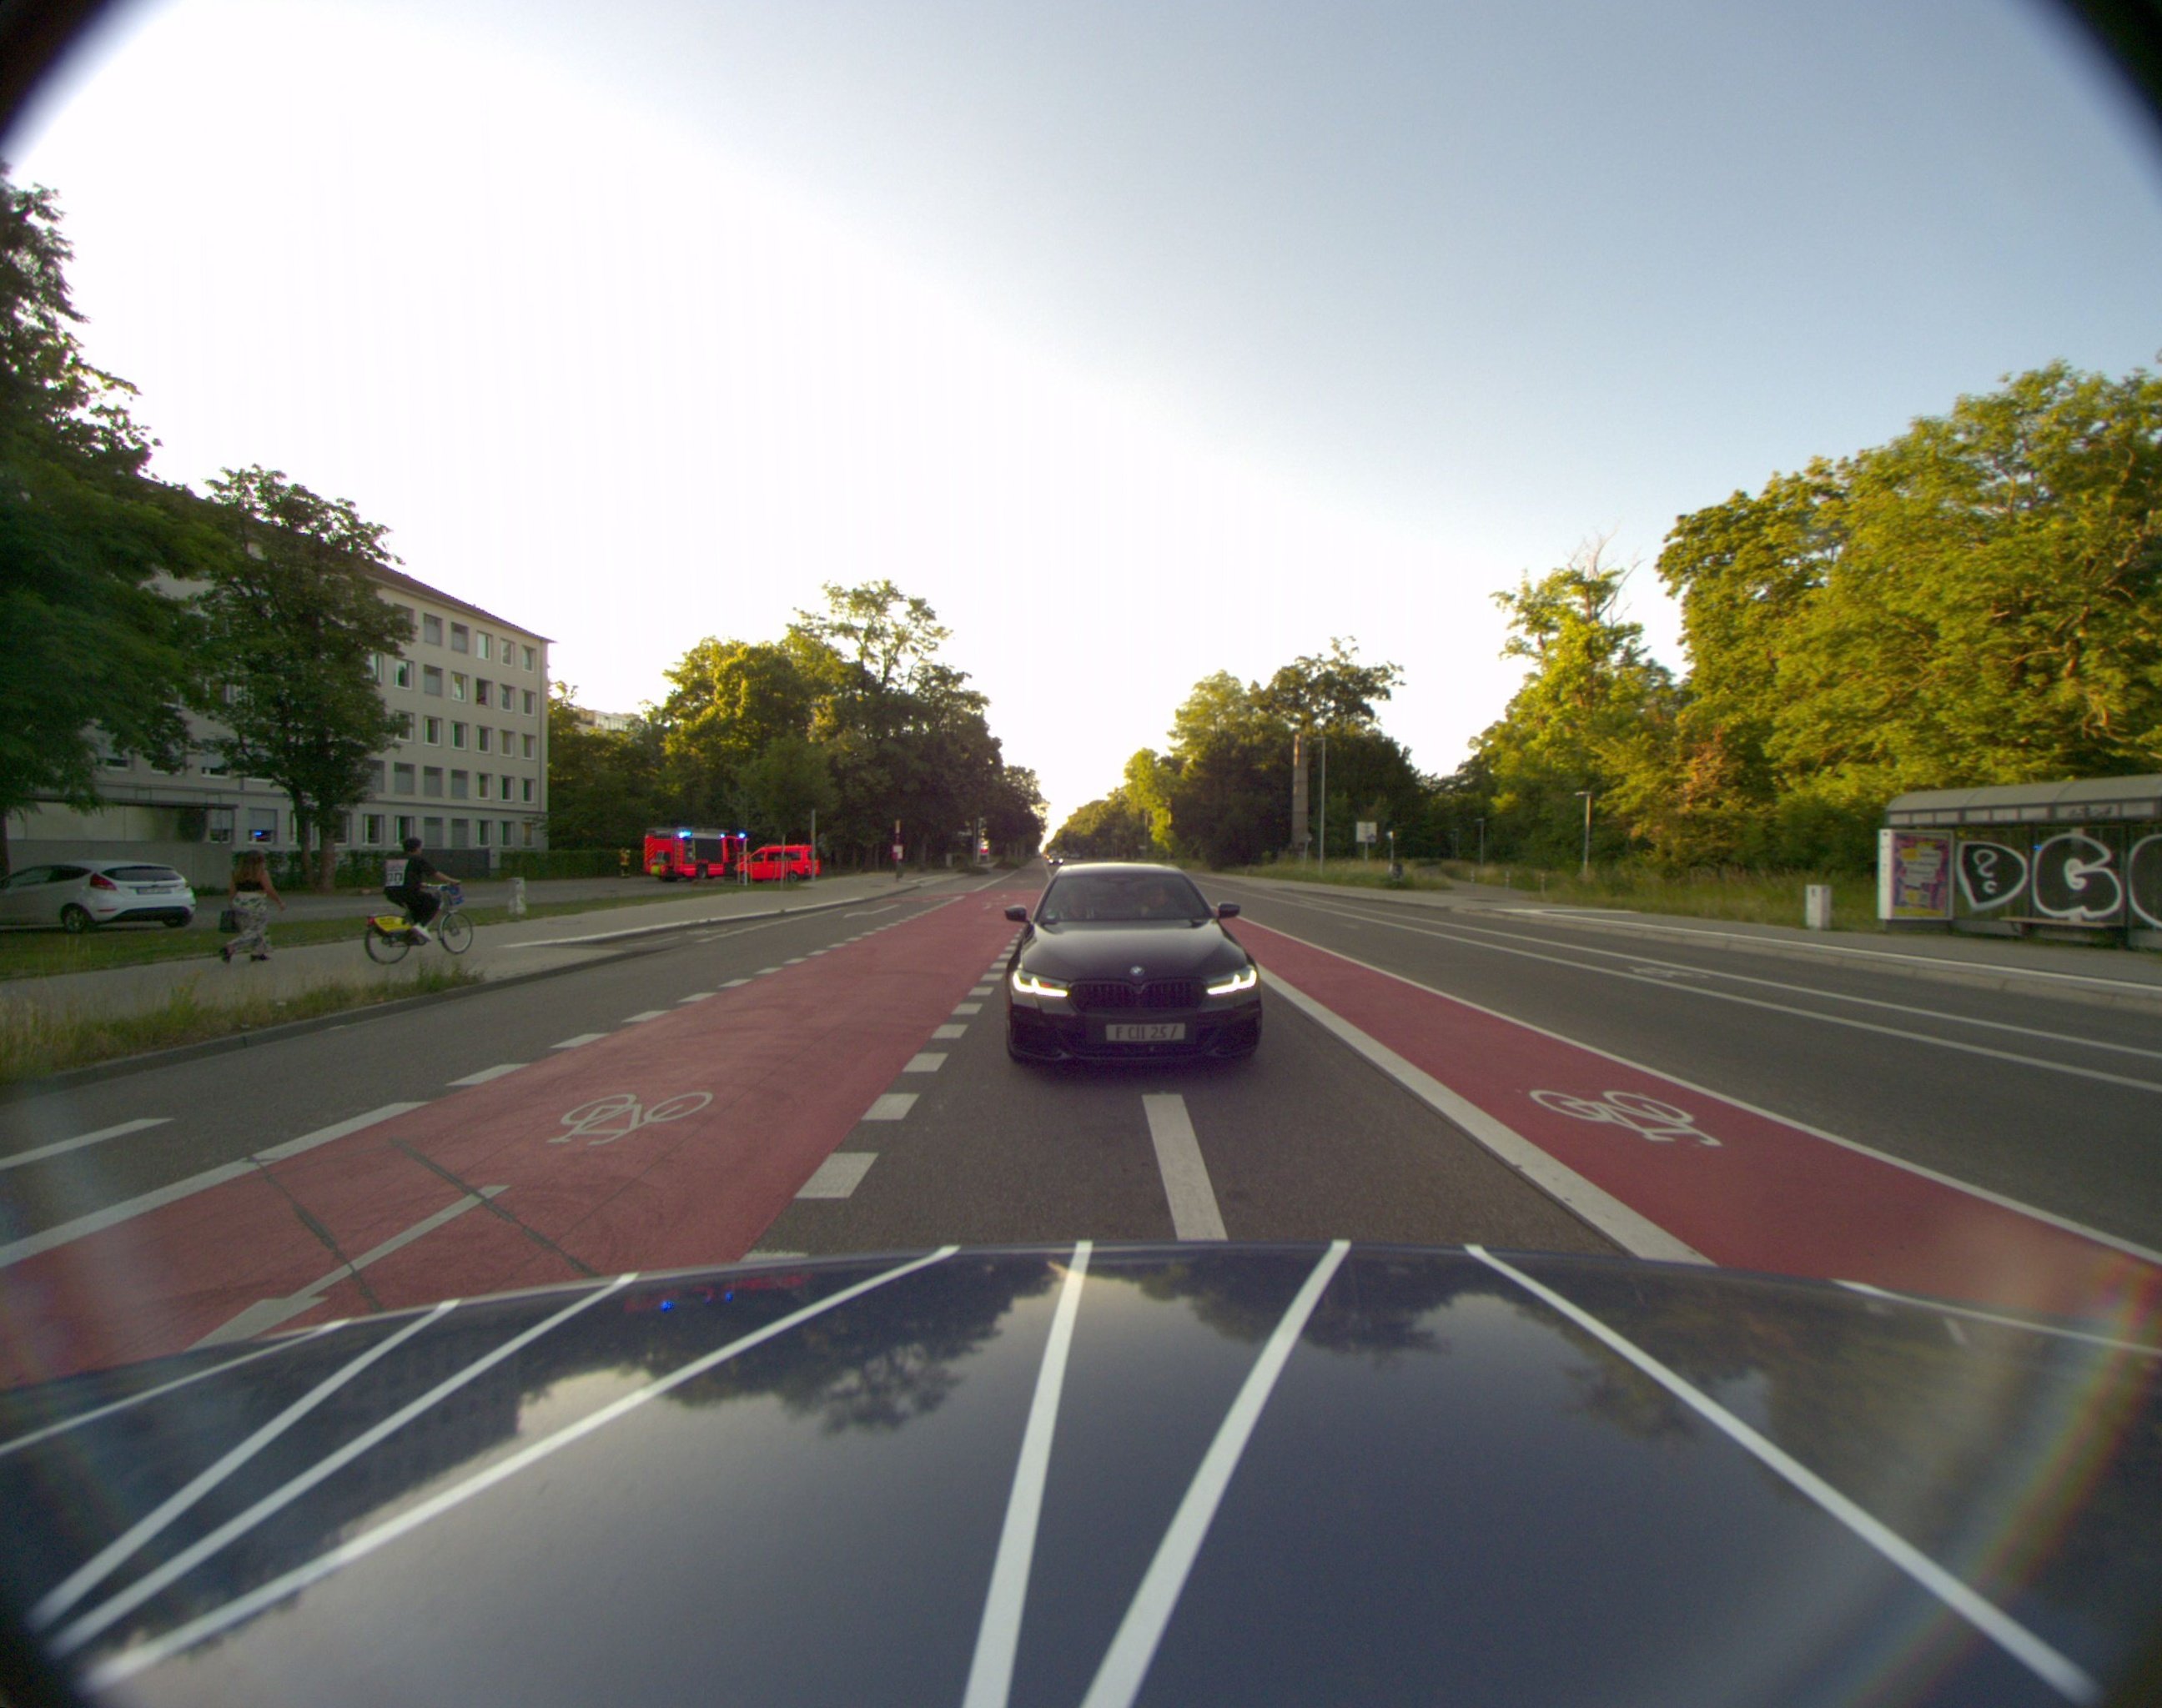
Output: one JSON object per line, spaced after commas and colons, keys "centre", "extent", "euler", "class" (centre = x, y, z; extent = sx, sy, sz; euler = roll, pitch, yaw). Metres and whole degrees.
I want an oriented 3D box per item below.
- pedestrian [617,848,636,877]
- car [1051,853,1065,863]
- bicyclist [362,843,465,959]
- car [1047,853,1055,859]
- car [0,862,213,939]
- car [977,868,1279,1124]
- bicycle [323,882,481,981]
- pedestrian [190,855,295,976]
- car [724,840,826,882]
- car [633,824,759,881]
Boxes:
{"centre": [-29.542, 0.538, 49.396], "extent": [0.845, 1.831, 0.683], "euler": [0, 0, -1], "class": "pedestrian"}
{"centre": [-3.353, 0.576, 109.670], "extent": [1.850, 1.346, 4.702], "euler": [-2, 0, -2], "class": "car"}
{"centre": [-9.769, 0.656, 11.161], "extent": [0.571, 1.623, 1.038], "euler": [0, 1, 1], "class": "bicyclist"}
{"centre": [-8.200, 0.447, 208.524], "extent": [1.851, 1.473, 4.701], "euler": [-2, 0, -4], "class": "car"}
{"centre": [-20.818, 0.924, 15.882], "extent": [3.662, 1.451, 1.665], "euler": [0, 1, 5], "class": "car"}
{"centre": [0.279, 0.926, 7.298], "extent": [1.818, 1.391, 5.212], "euler": [-2, 0, 0], "class": "car"}
{"centre": [-9.765, 1.071, 11.042], "extent": [0.571, 1.233, 1.899], "euler": [0, 1, 1], "class": "bicycle"}
{"centre": [-11.536, 0.822, 10.470], "extent": [0.682, 1.613, 0.688], "euler": [0, 0, 1], "class": "pedestrian"}
{"centre": [-17.940, 0.395, 44.711], "extent": [5.164, 2.379, 2.000], "euler": [0, 1, 3], "class": "car"}
{"centre": [-23.621, -0.136, 47.241], "extent": [2.770, 3.225, 8.301], "euler": [0, 0, 7], "class": "car"}
